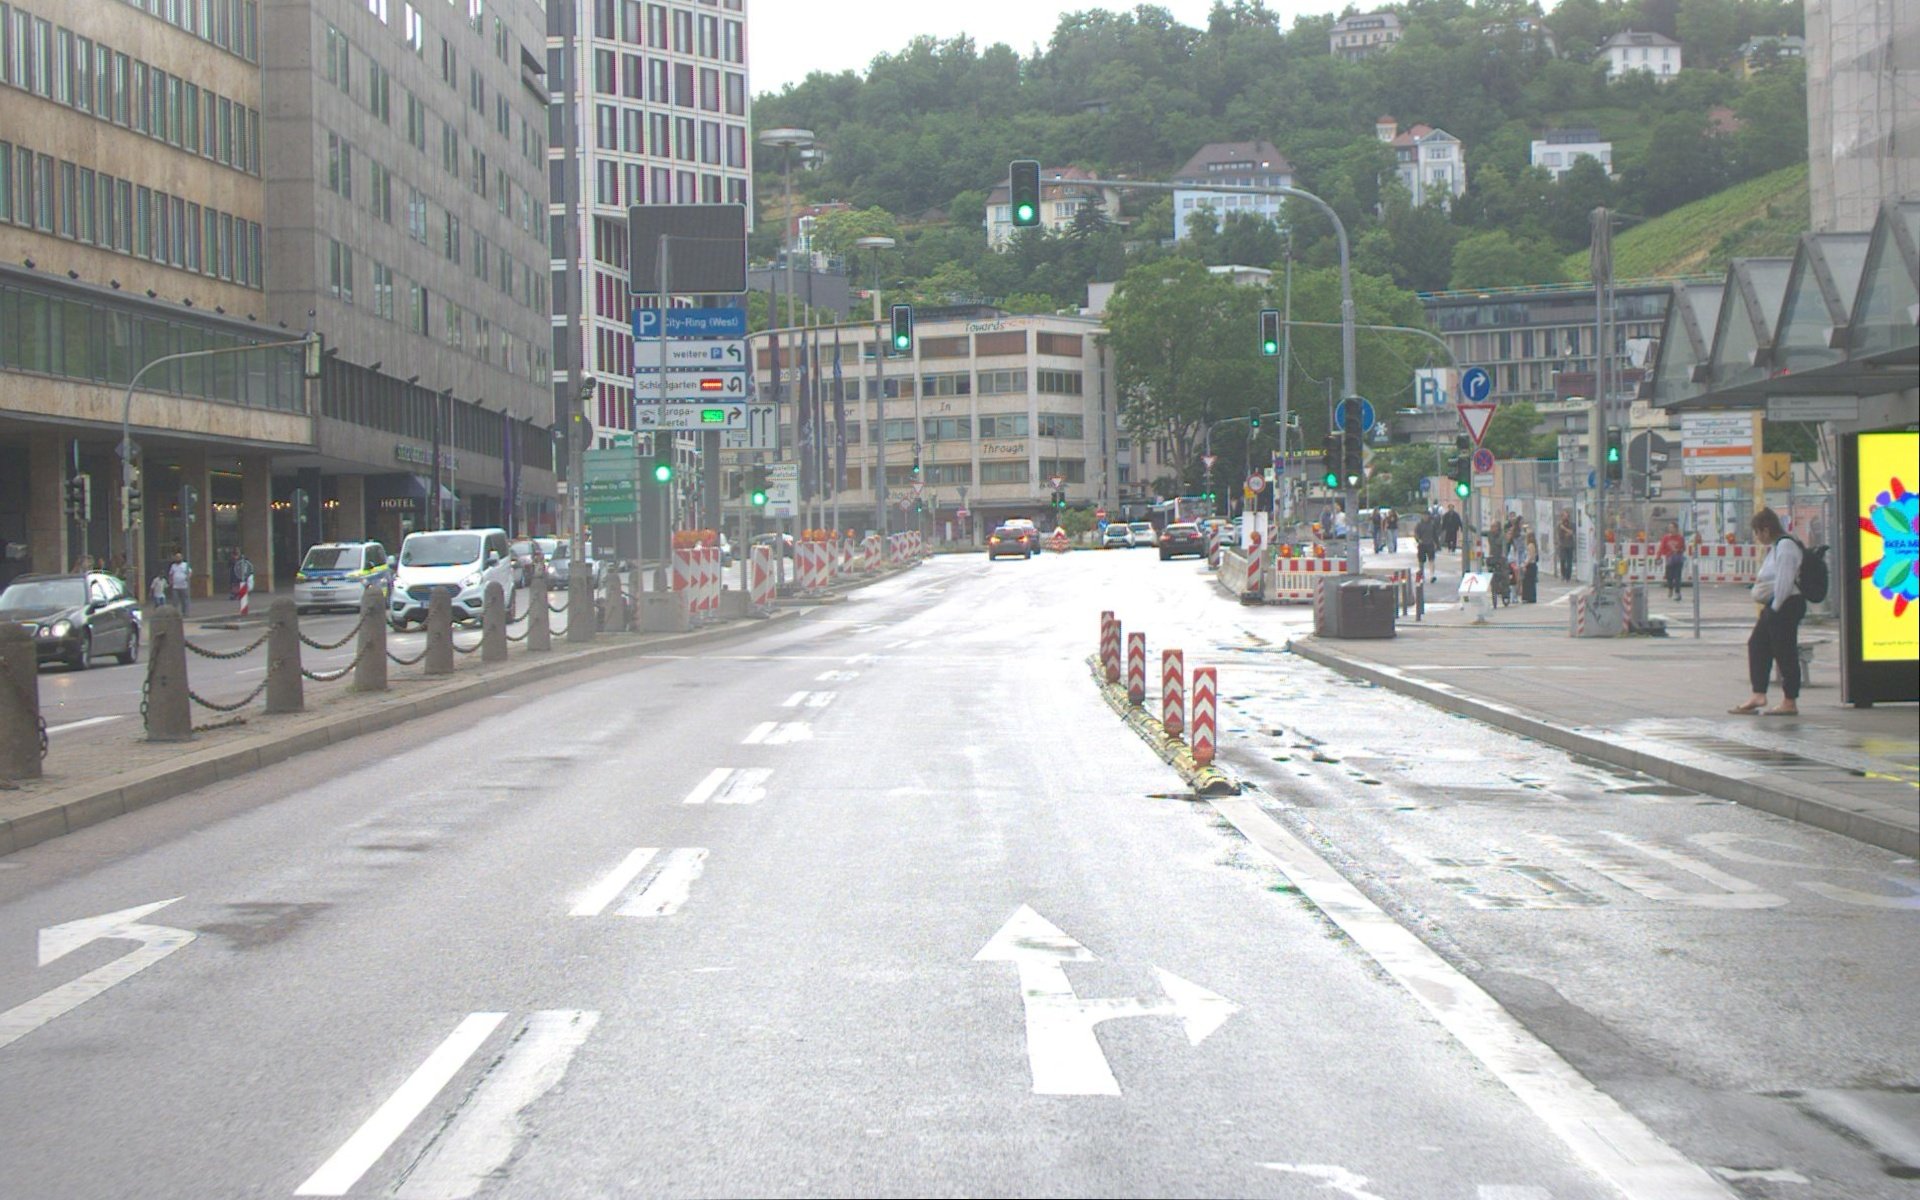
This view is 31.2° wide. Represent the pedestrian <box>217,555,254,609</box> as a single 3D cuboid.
[{"bbox_3d":[-20.863,-0.524,99.053,0.795,1.521,0.916,-1,0,4],"label":"pedestrian"}]

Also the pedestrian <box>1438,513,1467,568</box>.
[{"bbox_3d":[16.791,-2.029,117.205,0.946,1.835,0.867,-1,0,8],"label":"pedestrian"}]

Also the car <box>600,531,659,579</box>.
[{"bbox_3d":[-14.991,-2.048,156.169,1.994,2.006,4.000,-3,2,3],"label":"car"}]

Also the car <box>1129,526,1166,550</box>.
[{"bbox_3d":[11.457,-3.792,210.133,1.993,1.437,4.000,1,1,0],"label":"car"}]

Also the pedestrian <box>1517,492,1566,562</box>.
[{"bbox_3d":[15.432,-1.938,91.291,0.867,1.835,0.947,-1,1,45],"label":"pedestrian"}]

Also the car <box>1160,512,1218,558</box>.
[{"bbox_3d":[8.973,-2.545,135.167,1.993,1.700,4.000,-1,1,0],"label":"car"}]

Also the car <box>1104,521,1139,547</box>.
[{"bbox_3d":[9.170,-3.778,195.086,1.819,1.437,4.000,1,1,0],"label":"car"}]

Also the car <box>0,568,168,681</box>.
[{"bbox_3d":[-13.801,0.351,52.657,1.994,1.611,4.977,-1,1,2],"label":"car"}]

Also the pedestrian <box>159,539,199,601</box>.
[{"bbox_3d":[-19.711,-0.762,86.756,0.721,1.552,0.895,-1,0,3],"label":"pedestrian"}]

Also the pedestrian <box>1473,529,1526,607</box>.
[{"bbox_3d":[11.274,-0.663,71.844,0.796,1.602,0.834,-1,1,30],"label":"pedestrian"}]

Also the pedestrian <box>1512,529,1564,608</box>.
[{"bbox_3d":[12.006,-0.658,71.432,0.796,1.602,0.834,-1,1,31],"label":"pedestrian"}]

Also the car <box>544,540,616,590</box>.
[{"bbox_3d":[-12.690,-1.169,115.037,1.768,1.603,4.226,-1,1,2],"label":"car"}]

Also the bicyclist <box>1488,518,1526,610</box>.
[{"bbox_3d":[11.048,-0.729,69.425,0.703,1.838,0.968,0,1,6],"label":"bicyclist"}]

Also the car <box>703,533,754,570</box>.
[{"bbox_3d":[-11.138,-2.323,165.520,1.994,1.744,4.000,-1,1,2],"label":"car"}]

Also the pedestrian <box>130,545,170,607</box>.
[{"bbox_3d":[-20.460,-0.610,86.816,0.721,1.552,0.905,-1,0,3],"label":"pedestrian"}]

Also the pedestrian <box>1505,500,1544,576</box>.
[{"bbox_3d":[13.818,-1.509,84.128,0.865,1.835,0.797,-1,0,12],"label":"pedestrian"}]

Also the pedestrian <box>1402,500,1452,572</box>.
[{"bbox_3d":[12.075,-1.665,88.889,0.948,1.835,0.945,-1,1,32],"label":"pedestrian"}]

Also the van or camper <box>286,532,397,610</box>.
[{"bbox_3d":[-16.725,-0.784,93.162,1.993,2.007,4.965,-1,1,1],"label":"van or camper"}]

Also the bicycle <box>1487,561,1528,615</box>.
[{"bbox_3d":[11.031,-0.251,69.326,0.707,1.046,1.806,0,2,6],"label":"bicycle"}]

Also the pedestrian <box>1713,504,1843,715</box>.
[{"bbox_3d":[6.646,0.067,27.951,0.701,1.674,0.723,-2,1,-27],"label":"pedestrian"}]

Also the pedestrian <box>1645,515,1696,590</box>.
[{"bbox_3d":[15.364,-1.018,74.334,0.767,1.602,0.863,-1,0,-13],"label":"pedestrian"}]

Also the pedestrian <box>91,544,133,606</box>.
[{"bbox_3d":[-21.465,-0.644,87.051,0.721,1.552,1.005,-1,0,3],"label":"pedestrian"}]

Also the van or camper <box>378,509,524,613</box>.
[{"bbox_3d":[-10.314,-0.787,70.036,1.993,2.007,5.189,-1,1,2],"label":"van or camper"}]

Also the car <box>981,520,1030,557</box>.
[{"bbox_3d":[1.964,-2.699,150.497,1.993,1.546,4.000,-1,1,-1],"label":"car"}]

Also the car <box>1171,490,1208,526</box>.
[{"bbox_3d":[12.020,-4.809,180.453,1.776,1.634,3.999,-2,-1,3],"label":"car"}]
